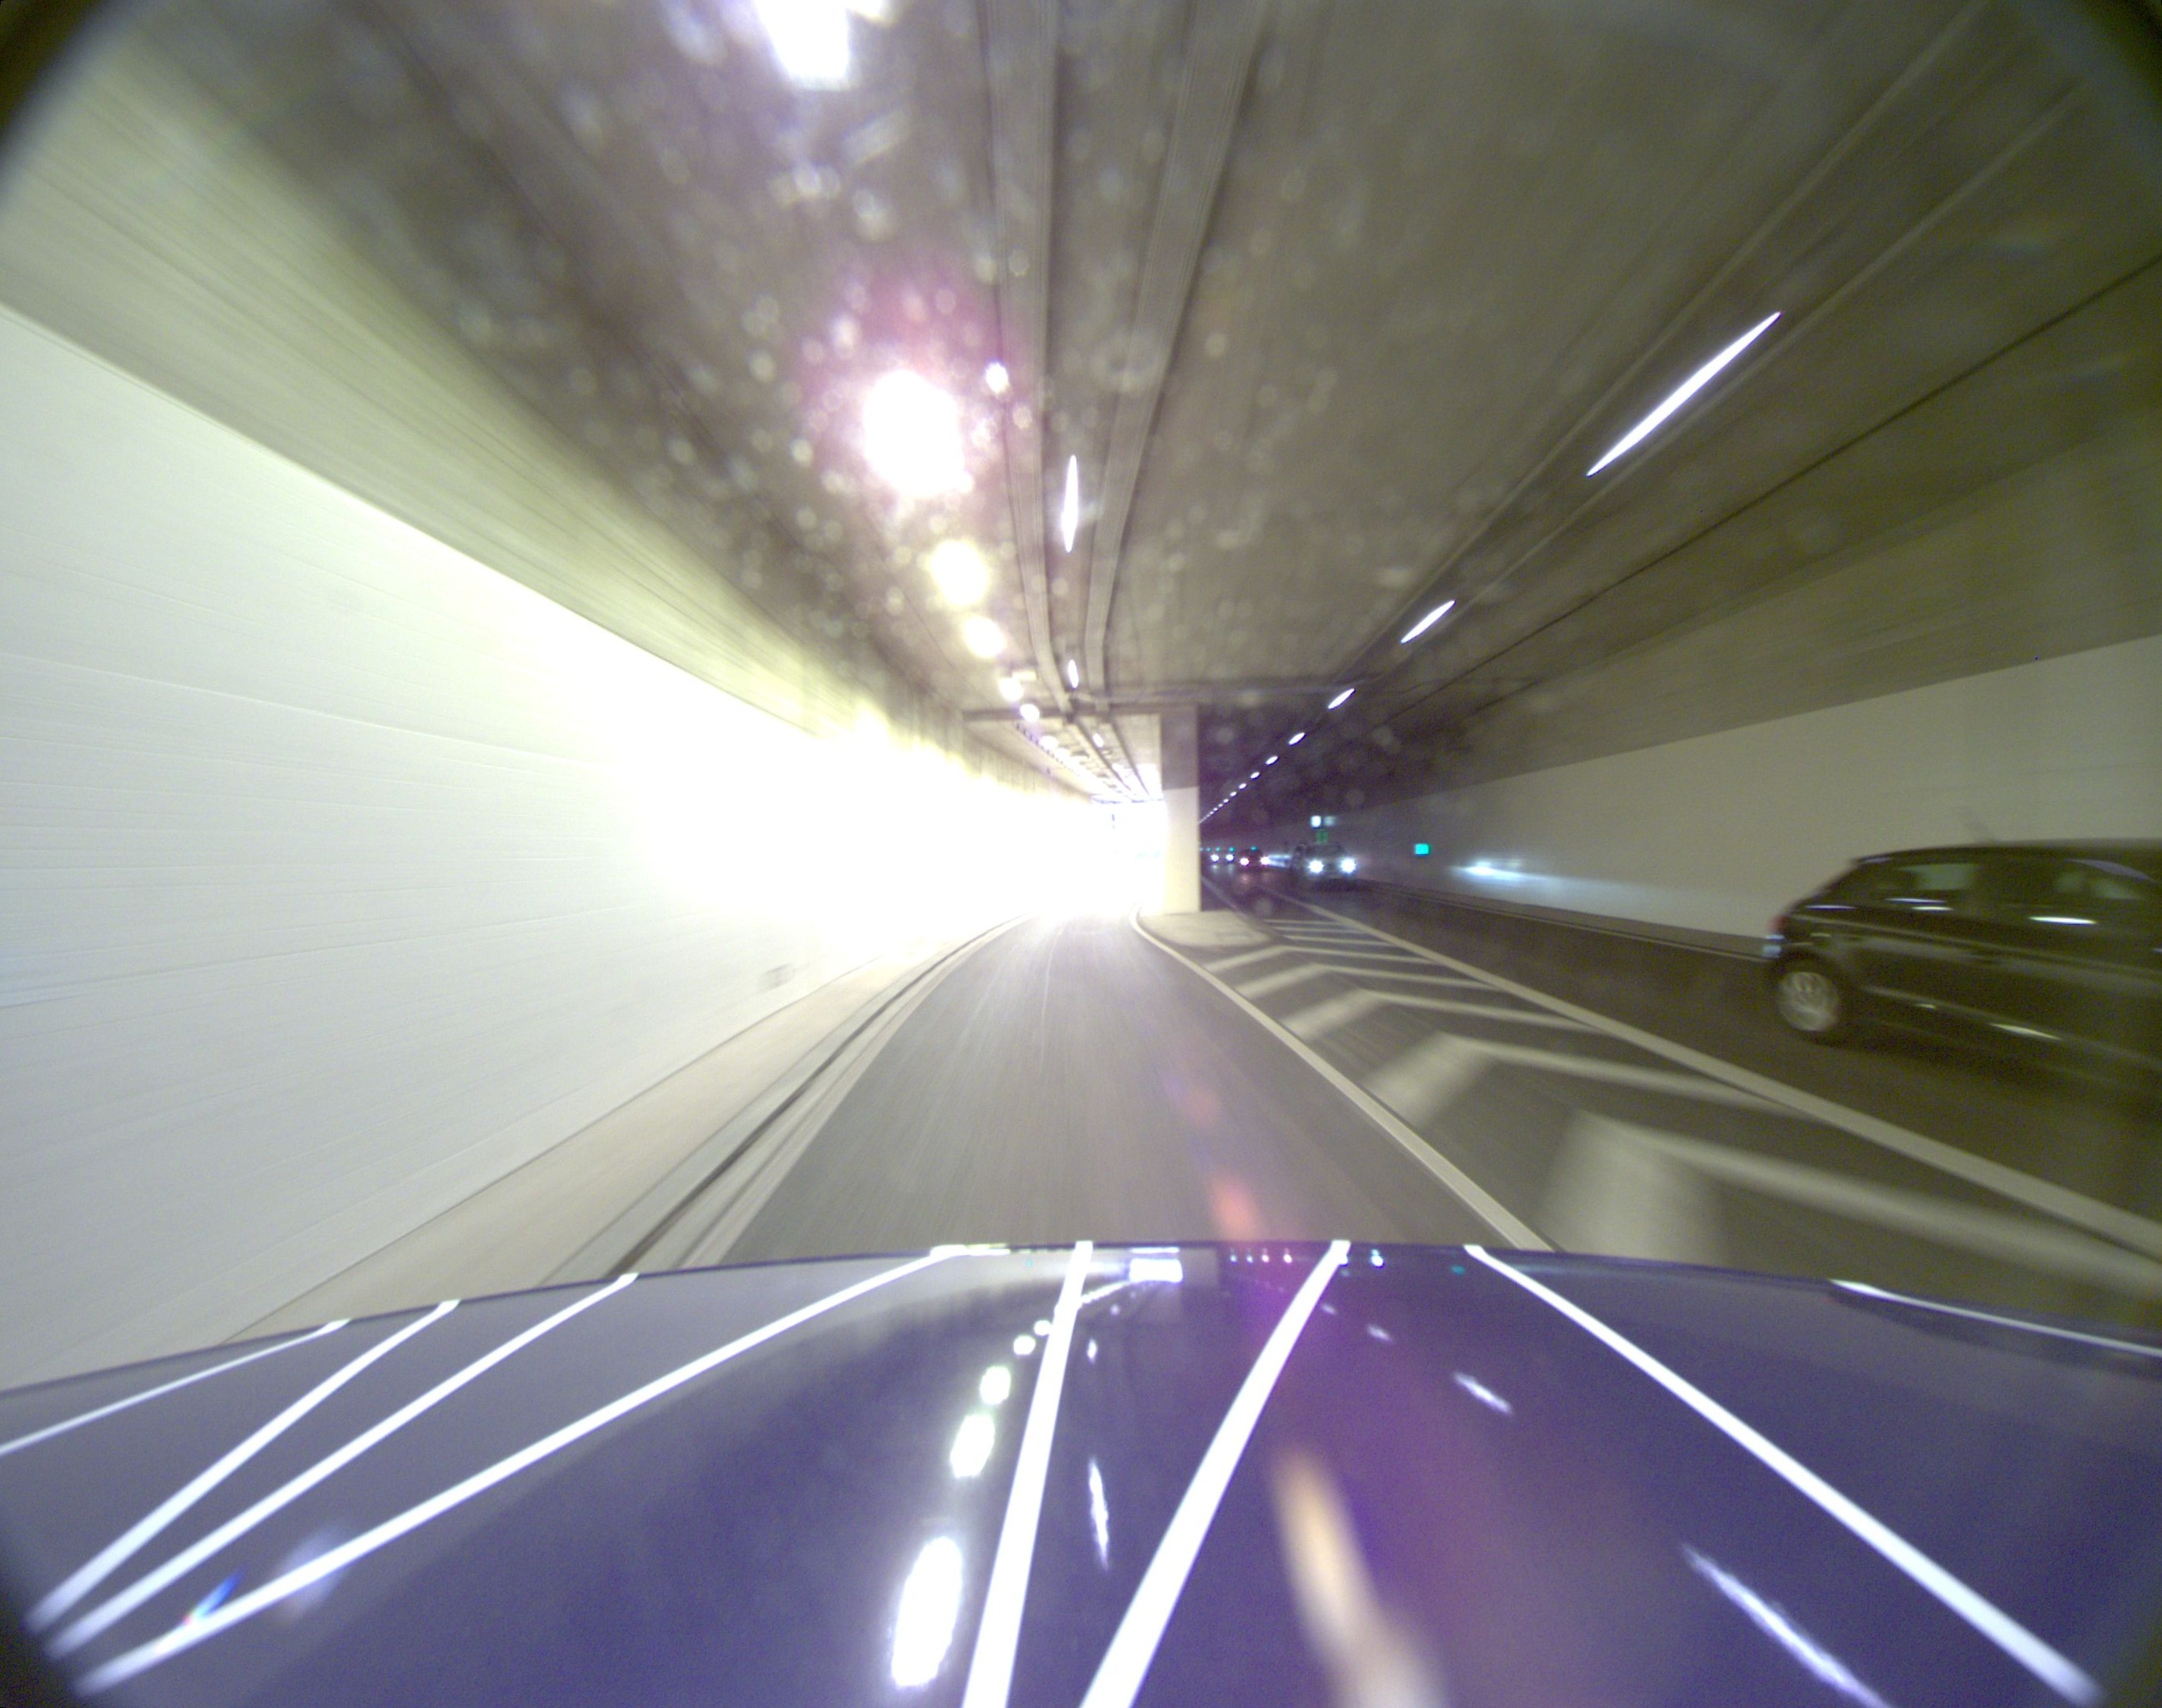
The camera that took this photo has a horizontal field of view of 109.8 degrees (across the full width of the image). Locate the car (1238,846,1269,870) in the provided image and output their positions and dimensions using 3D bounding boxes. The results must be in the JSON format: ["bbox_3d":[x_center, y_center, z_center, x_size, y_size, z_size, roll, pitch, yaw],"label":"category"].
[{"bbox_3d":[11.527,0.253,50.949,1.607,1.462,3.682,-3,0,7],"label":"car"}]

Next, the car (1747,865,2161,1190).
[{"bbox_3d":[5.766,0.806,3.812,1.660,1.393,3.878,-2,0,5],"label":"car"}]

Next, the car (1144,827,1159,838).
[{"bbox_3d":[9.306,-2.825,100.677,1.828,1.328,4.002,-1,1,7],"label":"car"}]

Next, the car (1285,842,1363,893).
[{"bbox_3d":[8.699,0.451,27.537,1.853,1.655,3.833,-1,0,5],"label":"car"}]

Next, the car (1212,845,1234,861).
[{"bbox_3d":[14.339,-0.077,76.910,1.718,1.443,3.682,-3,0,5],"label":"car"}]
